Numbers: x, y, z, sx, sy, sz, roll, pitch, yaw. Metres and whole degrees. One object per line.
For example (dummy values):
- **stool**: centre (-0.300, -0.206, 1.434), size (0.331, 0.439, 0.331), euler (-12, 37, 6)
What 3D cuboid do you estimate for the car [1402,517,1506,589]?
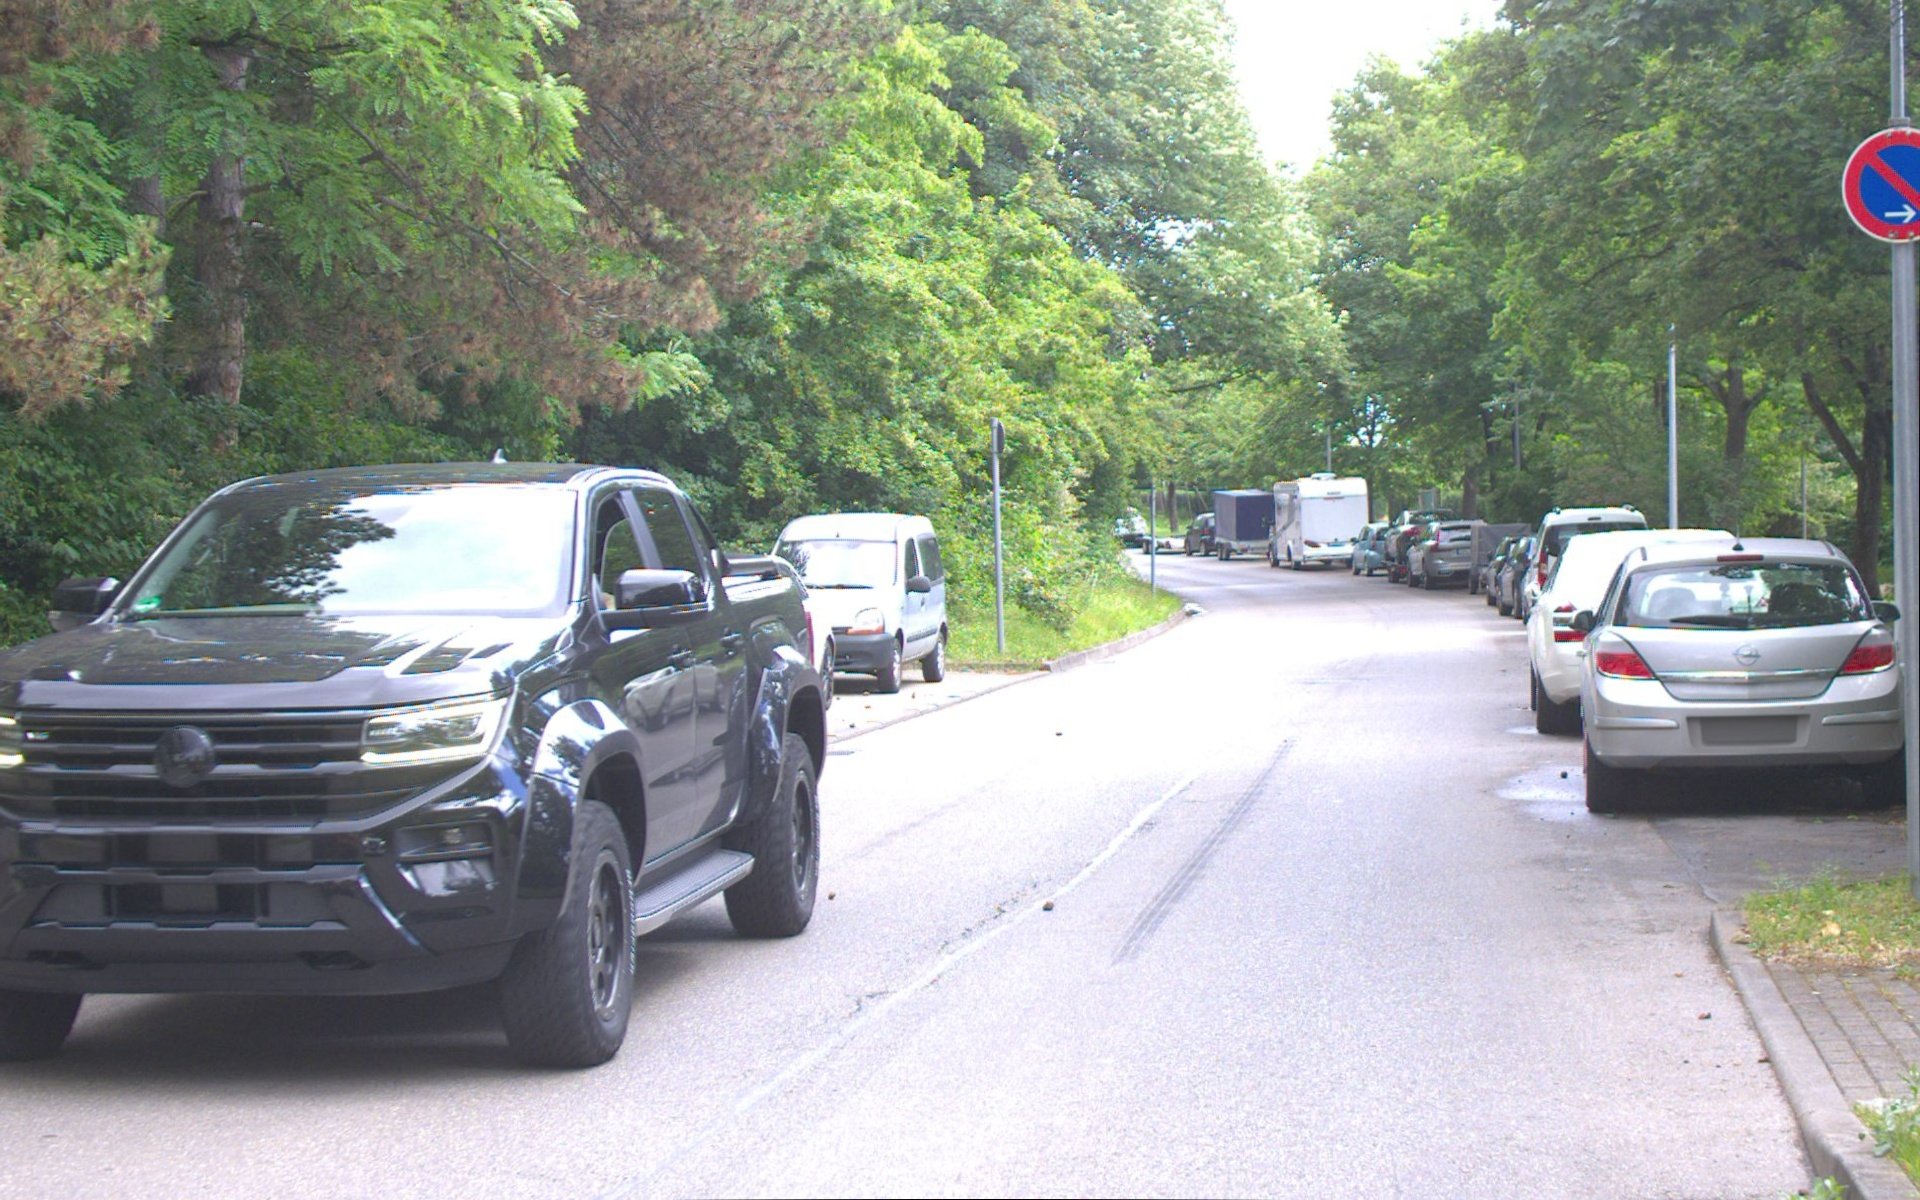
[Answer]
- **car**: centre (12.072, -1.125, 84.276), size (1.792, 1.664, 4.502), euler (-2, 0, -1)

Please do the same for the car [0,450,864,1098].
- **car**: centre (-1.732, 0.432, 11.944), size (1.994, 1.729, 5.335), euler (-1, 1, 7)

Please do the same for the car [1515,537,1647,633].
- **car**: centre (9.705, -0.264, 53.979), size (1.813, 1.432, 4.241), euler (0, 1, 7)

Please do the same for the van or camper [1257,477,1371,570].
- **van or camper**: centre (11.307, -2.452, 110.367), size (2.482, 2.866, 6.891), euler (-1, 1, -4)

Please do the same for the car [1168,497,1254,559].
- **car**: centre (9.219, -2.670, 126.651), size (1.993, 2.018, 4.002), euler (-4, 4, -12)

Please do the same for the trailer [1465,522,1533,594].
- **trailer**: centre (12.209, -0.957, 77.928), size (1.279, 1.579, 2.460), euler (-1, 1, 4)

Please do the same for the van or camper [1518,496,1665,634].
- **van or camper**: centre (8.821, -0.462, 48.299), size (1.802, 1.831, 4.319), euler (-1, 0, 8)

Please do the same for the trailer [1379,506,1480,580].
- **trailer**: centre (12.338, -1.529, 90.609), size (1.979, 1.805, 5.149), euler (-2, 2, 1)

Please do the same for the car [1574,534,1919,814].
- **car**: centre (4.466, 0.351, 19.715), size (1.793, 1.406, 4.058), euler (-1, 1, 10)

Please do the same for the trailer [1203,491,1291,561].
- **trailer**: centre (10.096, -2.612, 121.211), size (1.993, 2.390, 4.001), euler (-2, 1, -11)

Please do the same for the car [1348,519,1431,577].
- **car**: centre (12.472, -1.515, 99.991), size (1.799, 1.556, 3.836), euler (-2, 2, -2)

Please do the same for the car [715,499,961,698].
- **car**: centre (-1.211, -0.081, 35.880), size (1.721, 1.914, 4.103), euler (1, 2, 10)

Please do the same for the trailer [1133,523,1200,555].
- **trailer**: centre (7.810, -2.327, 130.585), size (1.651, 1.083, 4.001), euler (-4, 2, -9)

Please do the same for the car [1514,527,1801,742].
- **car**: centre (5.388, 0.195, 27.101), size (1.887, 1.501, 5.174), euler (-1, 1, 8)

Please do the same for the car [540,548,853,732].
- **car**: centre (-2.176, 0.283, 29.557), size (1.806, 1.398, 4.371), euler (1, 1, 8)

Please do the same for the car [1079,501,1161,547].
- **car**: centre (6.472, -3.108, 139.804), size (2.034, 1.797, 4.084), euler (-2, 2, -17)
